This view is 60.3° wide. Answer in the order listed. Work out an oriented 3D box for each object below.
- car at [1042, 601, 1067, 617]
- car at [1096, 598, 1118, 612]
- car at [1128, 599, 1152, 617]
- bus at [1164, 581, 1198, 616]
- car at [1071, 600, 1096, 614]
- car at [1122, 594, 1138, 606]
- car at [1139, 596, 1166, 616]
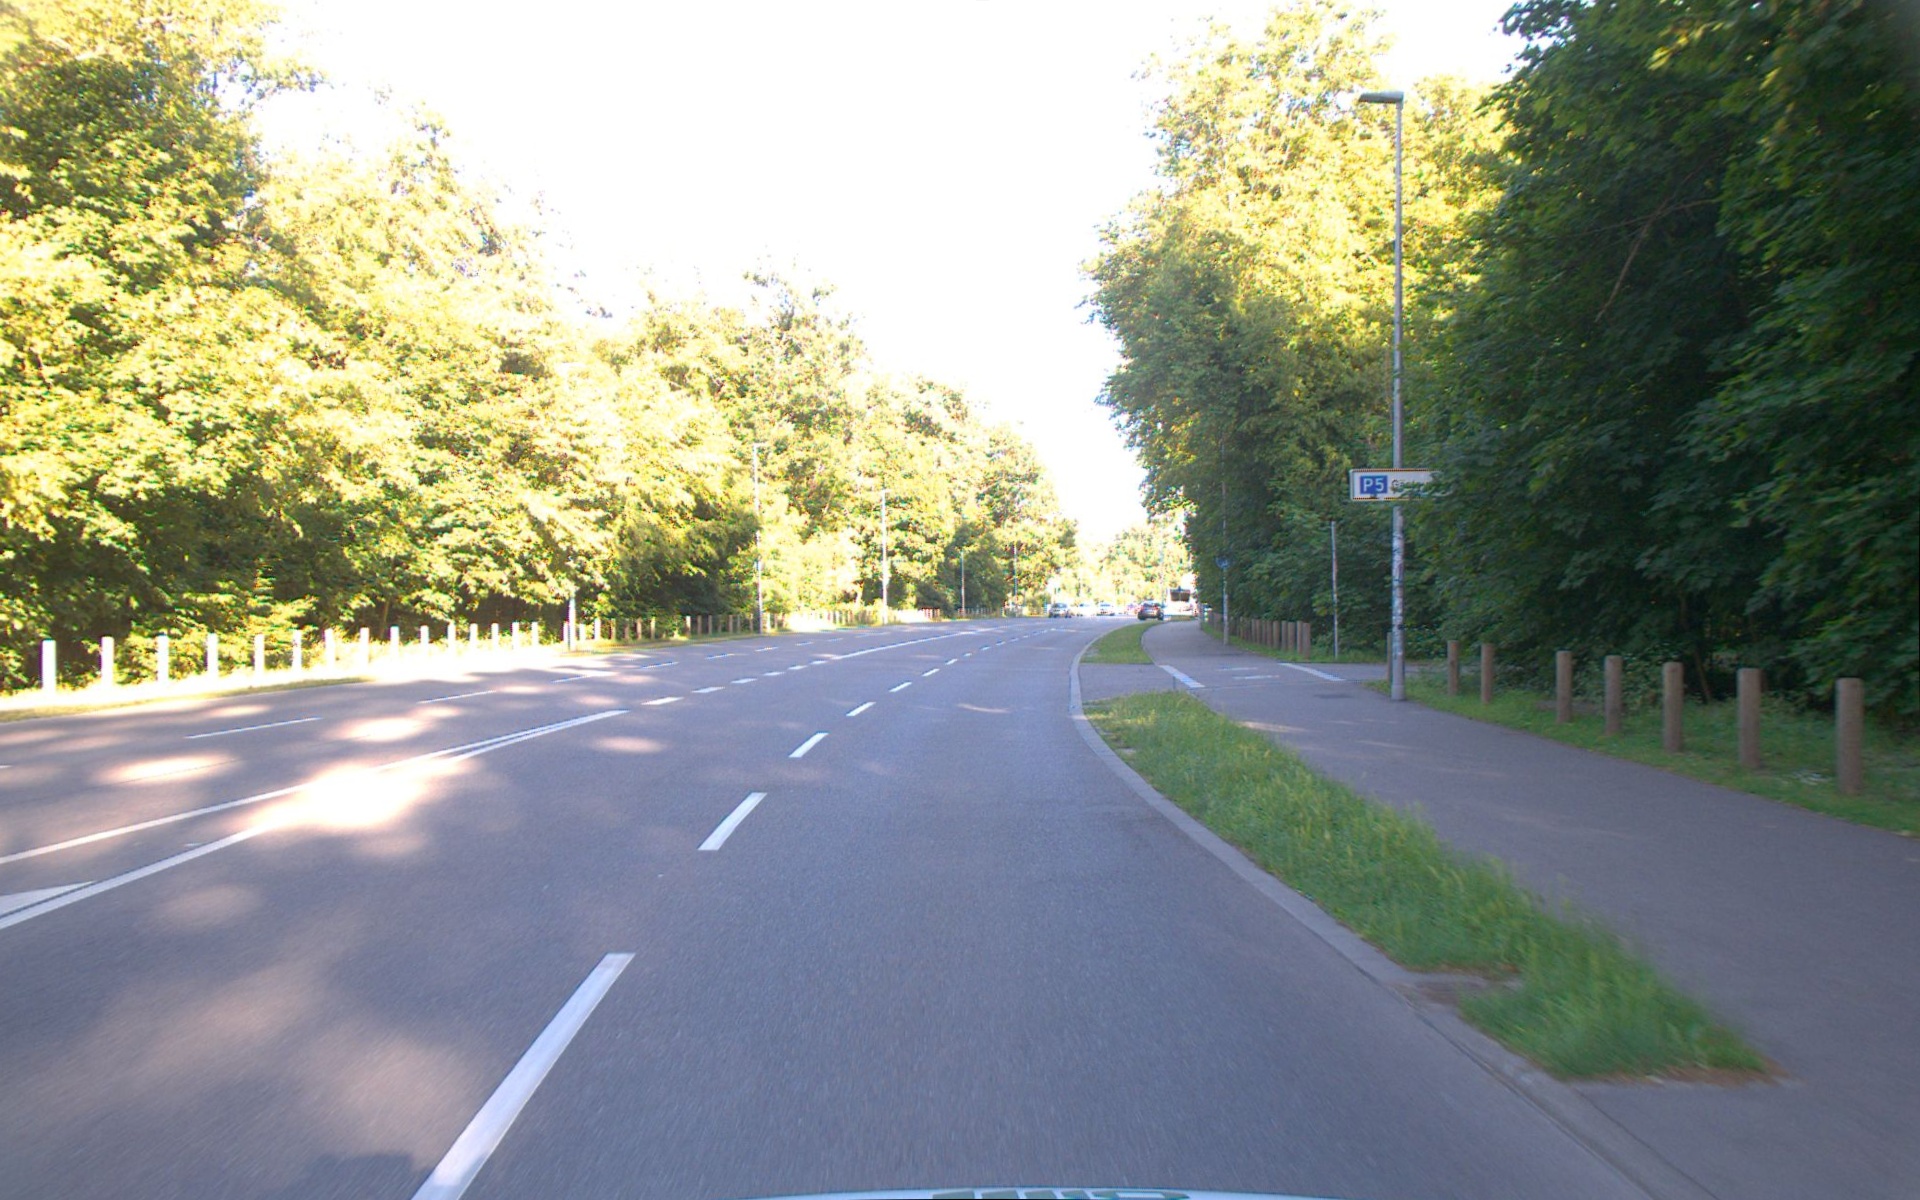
[{"bbox_3d":[8.908,0.818,155.757,1.741,1.433,4.169,0,1,13],"label":"car"},{"bbox_3d":[17.138,0.538,192.366,1.745,1.549,4.401,0,0,16],"label":"car"},{"bbox_3d":[17.892,0.751,164.398,1.840,1.739,4.003,-1,0,14],"label":"car"},{"bbox_3d":[22.515,-0.143,167.942,2.549,3.427,7.982,0,0,14],"label":"bus"},{"bbox_3d":[13.089,0.755,174.941,1.742,1.490,4.277,-2,-1,16],"label":"car"},{"bbox_3d":[22.282,-0.015,216.881,1.627,1.544,3.810,-1,0,14],"label":"car"},{"bbox_3d":[17.219,0.528,147.917,1.840,1.796,4.003,-1,0,14],"label":"car"}]
